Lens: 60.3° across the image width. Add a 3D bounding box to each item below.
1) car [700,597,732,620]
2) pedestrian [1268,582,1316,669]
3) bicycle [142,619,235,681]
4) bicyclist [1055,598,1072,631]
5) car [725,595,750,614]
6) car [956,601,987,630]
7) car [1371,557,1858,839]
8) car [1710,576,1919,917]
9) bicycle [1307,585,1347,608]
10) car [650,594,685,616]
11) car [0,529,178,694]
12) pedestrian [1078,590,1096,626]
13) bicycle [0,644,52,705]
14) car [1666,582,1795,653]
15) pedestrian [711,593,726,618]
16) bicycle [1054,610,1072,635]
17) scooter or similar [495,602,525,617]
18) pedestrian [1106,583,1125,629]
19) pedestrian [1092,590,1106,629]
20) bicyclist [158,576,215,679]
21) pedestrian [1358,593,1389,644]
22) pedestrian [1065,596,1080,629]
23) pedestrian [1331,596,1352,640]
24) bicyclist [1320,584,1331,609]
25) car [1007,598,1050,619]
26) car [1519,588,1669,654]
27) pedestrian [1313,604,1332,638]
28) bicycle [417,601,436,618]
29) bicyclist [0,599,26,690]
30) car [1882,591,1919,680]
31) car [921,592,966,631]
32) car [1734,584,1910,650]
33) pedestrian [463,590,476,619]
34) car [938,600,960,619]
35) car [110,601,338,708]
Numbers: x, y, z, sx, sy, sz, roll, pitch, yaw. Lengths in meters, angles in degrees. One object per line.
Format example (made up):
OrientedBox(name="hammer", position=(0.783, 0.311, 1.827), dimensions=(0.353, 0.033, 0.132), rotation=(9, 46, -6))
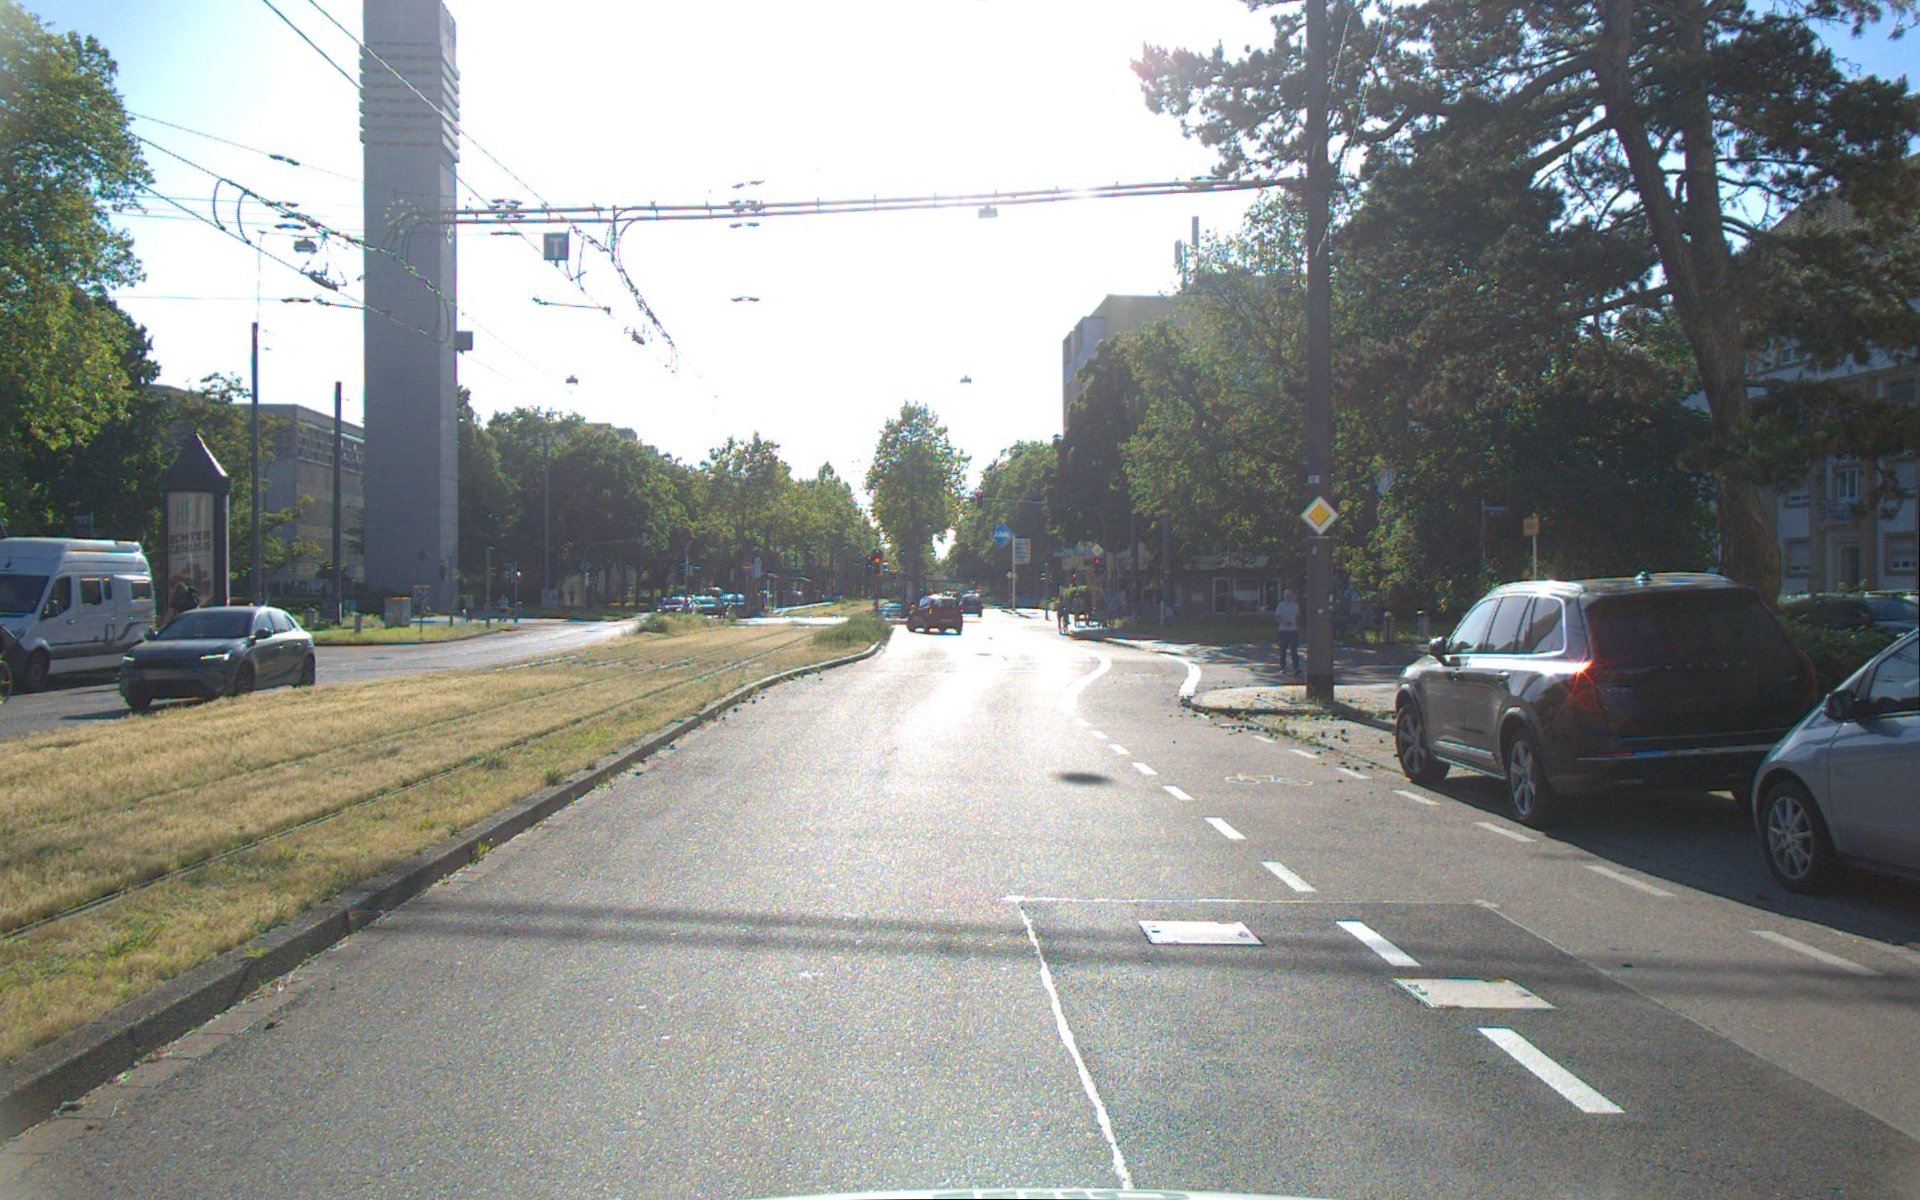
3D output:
OrientedBox(name="car", position=(-17.299, 0.589, 117.412), dimensions=(1.653, 1.560, 4.360), rotation=(0, 0, -1))
OrientedBox(name="pedestrian", position=(6.835, 0.515, 34.079), dimensions=(0.862, 1.752, 0.725), rotation=(-1, 0, 4))
OrientedBox(name="bicycle", position=(-15.681, 0.995, 33.702), dimensions=(0.753, 1.166, 2.474), rotation=(-2, 0, -1))
OrientedBox(name="bicyclist", position=(4.393, 0.619, 70.409), dimensions=(0.625, 1.346, 0.803), rotation=(2, 0, 1))
OrientedBox(name="car", position=(-17.722, 0.330, 131.951), dimensions=(1.534, 1.426, 3.914), rotation=(2, 0, -1))
OrientedBox(name="car", position=(0.780, 1.081, 117.868), dimensions=(1.929, 1.892, 3.998), rotation=(2, 0, -3))
OrientedBox(name="car", position=(4.903, 0.638, 13.301), dimensions=(1.841, 1.746, 4.933), rotation=(-3, 0, -1))
OrientedBox(name="car", position=(5.343, 0.680, 7.827), dimensions=(1.562, 1.606, 3.892), rotation=(-2, 0, -4))
OrientedBox(name="bicycle", position=(23.964, -0.233, 108.080), dimensions=(2.421, 1.424, 0.608), rotation=(2, 0, -3))
OrientedBox(name="car", position=(-20.615, 0.337, 116.756), dimensions=(1.770, 1.560, 4.360), rotation=(0, 0, -1))
OrientedBox(name="car", position=(-17.834, 0.188, 32.460), dimensions=(1.991, 2.919, 6.227), rotation=(1, 0, -1))
OrientedBox(name="pedestrian", position=(6.135, 0.399, 79.861), dimensions=(0.714, 1.711, 0.533), rotation=(2, 0, 11))
OrientedBox(name="bicycle", position=(-15.279, 1.186, 26.120), dimensions=(0.753, 0.895, 2.068), rotation=(-2, 0, -1))
OrientedBox(name="car", position=(18.525, 0.391, 39.932), dimensions=(1.421, 1.600, 3.810), rotation=(-1, 0, 2))
OrientedBox(name="pedestrian", position=(-15.939, 0.341, 109.250), dimensions=(0.873, 1.634, 0.613), rotation=(2, 0, -2))
OrientedBox(name="bicycle", position=(4.380, 0.959, 70.432), dimensions=(0.634, 0.989, 1.804), rotation=(2, 0, 1))
OrientedBox(name="scooter or similar", position=(-27.093, 0.584, 99.525), dimensions=(1.707, 0.915, 0.561), rotation=(0, 0, -17))
OrientedBox(name="pedestrian", position=(6.284, 0.224, 66.752), dimensions=(0.688, 1.821, 0.694), rotation=(-2, 1, 4))
OrientedBox(name="pedestrian", position=(5.610, 0.401, 66.874), dimensions=(0.518, 1.555, 0.628), rotation=(-2, -1, 4))
OrientedBox(name="bicyclist", position=(-15.746, 0.562, 33.680), dimensions=(0.757, 2.049, 0.648), rotation=(2, 0, -2))
OrientedBox(name="pedestrian", position=(11.818, 0.528, 47.247), dimensions=(0.671, 1.397, 0.754), rotation=(2, 0, 25))
OrientedBox(name="pedestrian", position=(5.438, 0.590, 79.890), dimensions=(0.633, 1.549, 0.496), rotation=(2, 0, 11))
OrientedBox(name="pedestrian", position=(11.034, 0.510, 47.874), dimensions=(0.395, 1.247, 0.760), rotation=(2, 0, 25))
OrientedBox(name="bicyclist", position=(23.779, -0.238, 107.503), dimensions=(0.516, 1.594, 0.464), rotation=(2, 0, -4))
OrientedBox(name="car", position=(6.638, 0.800, 159.814), dimensions=(3.902, 1.892, 2.013), rotation=(2, 0, 10))
OrientedBox(name="car", position=(15.531, 0.482, 40.714), dimensions=(1.607, 1.520, 3.796), rotation=(-1, 0, -13))
OrientedBox(name="pedestrian", position=(10.502, 0.599, 47.892), dimensions=(0.395, 0.950, 0.622), rotation=(2, 2, 25))
OrientedBox(name="bicycle", position=(-33.525, 0.610, 103.922), dimensions=(0.480, 1.064, 1.684), rotation=(2, 0, 6))
OrientedBox(name="bicyclist", position=(-15.277, 0.698, 26.041), dimensions=(0.757, 1.408, 0.648), rotation=(0, 0, -2))
OrientedBox(name="car", position=(18.414, 0.615, 28.486), dimensions=(4.203, 1.528, 1.769), rotation=(-1, -3, 22))
OrientedBox(name="car", position=(-0.702, 0.472, 69.050), dimensions=(1.661, 1.534, 3.696), rotation=(2, 0, -4))
OrientedBox(name="car", position=(20.524, 0.380, 39.585), dimensions=(1.604, 1.465, 4.235), rotation=(-1, 0, -7))
OrientedBox(name="pedestrian", position=(-29.282, 0.278, 98.764), dimensions=(0.433, 1.695, 0.747), rotation=(2, 0, 8))
OrientedBox(name="car", position=(-1.037, 0.834, 151.611), dimensions=(1.856, 1.639, 4.498), rotation=(2, 0, -2))
OrientedBox(name="car", position=(-11.320, 0.775, 25.768), dimensions=(1.660, 1.473, 4.216), rotation=(-1, 0, -1))
